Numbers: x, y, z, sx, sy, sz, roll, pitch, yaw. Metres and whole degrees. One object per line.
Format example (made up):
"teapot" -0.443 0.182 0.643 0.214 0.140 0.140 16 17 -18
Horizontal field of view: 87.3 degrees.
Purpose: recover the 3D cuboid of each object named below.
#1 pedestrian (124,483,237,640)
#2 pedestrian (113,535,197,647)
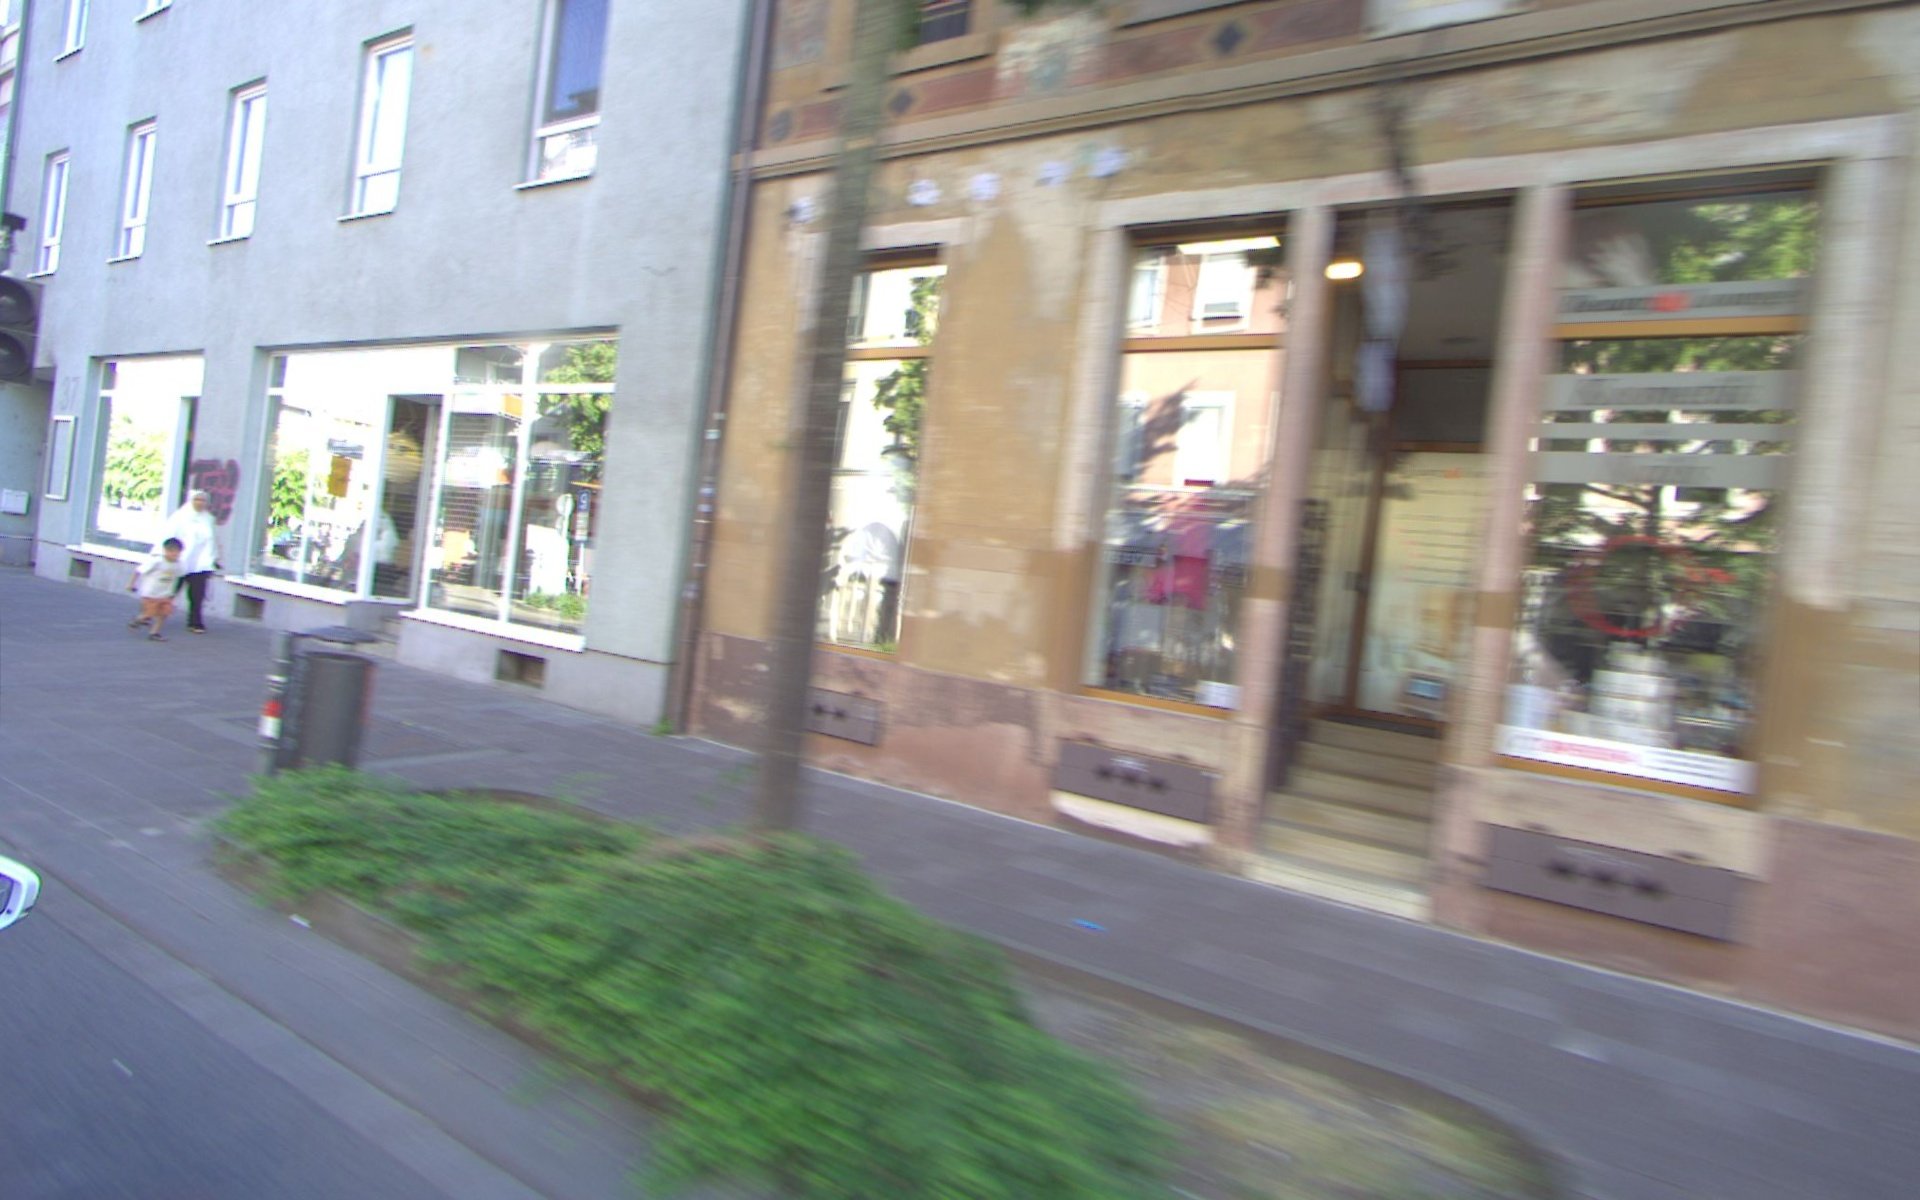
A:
"pedestrian" -8.453 -0.417 10.905 1.003 1.580 0.580 7 3 30
"pedestrian" -8.102 -0.091 10.121 0.727 1.047 0.393 7 3 30
